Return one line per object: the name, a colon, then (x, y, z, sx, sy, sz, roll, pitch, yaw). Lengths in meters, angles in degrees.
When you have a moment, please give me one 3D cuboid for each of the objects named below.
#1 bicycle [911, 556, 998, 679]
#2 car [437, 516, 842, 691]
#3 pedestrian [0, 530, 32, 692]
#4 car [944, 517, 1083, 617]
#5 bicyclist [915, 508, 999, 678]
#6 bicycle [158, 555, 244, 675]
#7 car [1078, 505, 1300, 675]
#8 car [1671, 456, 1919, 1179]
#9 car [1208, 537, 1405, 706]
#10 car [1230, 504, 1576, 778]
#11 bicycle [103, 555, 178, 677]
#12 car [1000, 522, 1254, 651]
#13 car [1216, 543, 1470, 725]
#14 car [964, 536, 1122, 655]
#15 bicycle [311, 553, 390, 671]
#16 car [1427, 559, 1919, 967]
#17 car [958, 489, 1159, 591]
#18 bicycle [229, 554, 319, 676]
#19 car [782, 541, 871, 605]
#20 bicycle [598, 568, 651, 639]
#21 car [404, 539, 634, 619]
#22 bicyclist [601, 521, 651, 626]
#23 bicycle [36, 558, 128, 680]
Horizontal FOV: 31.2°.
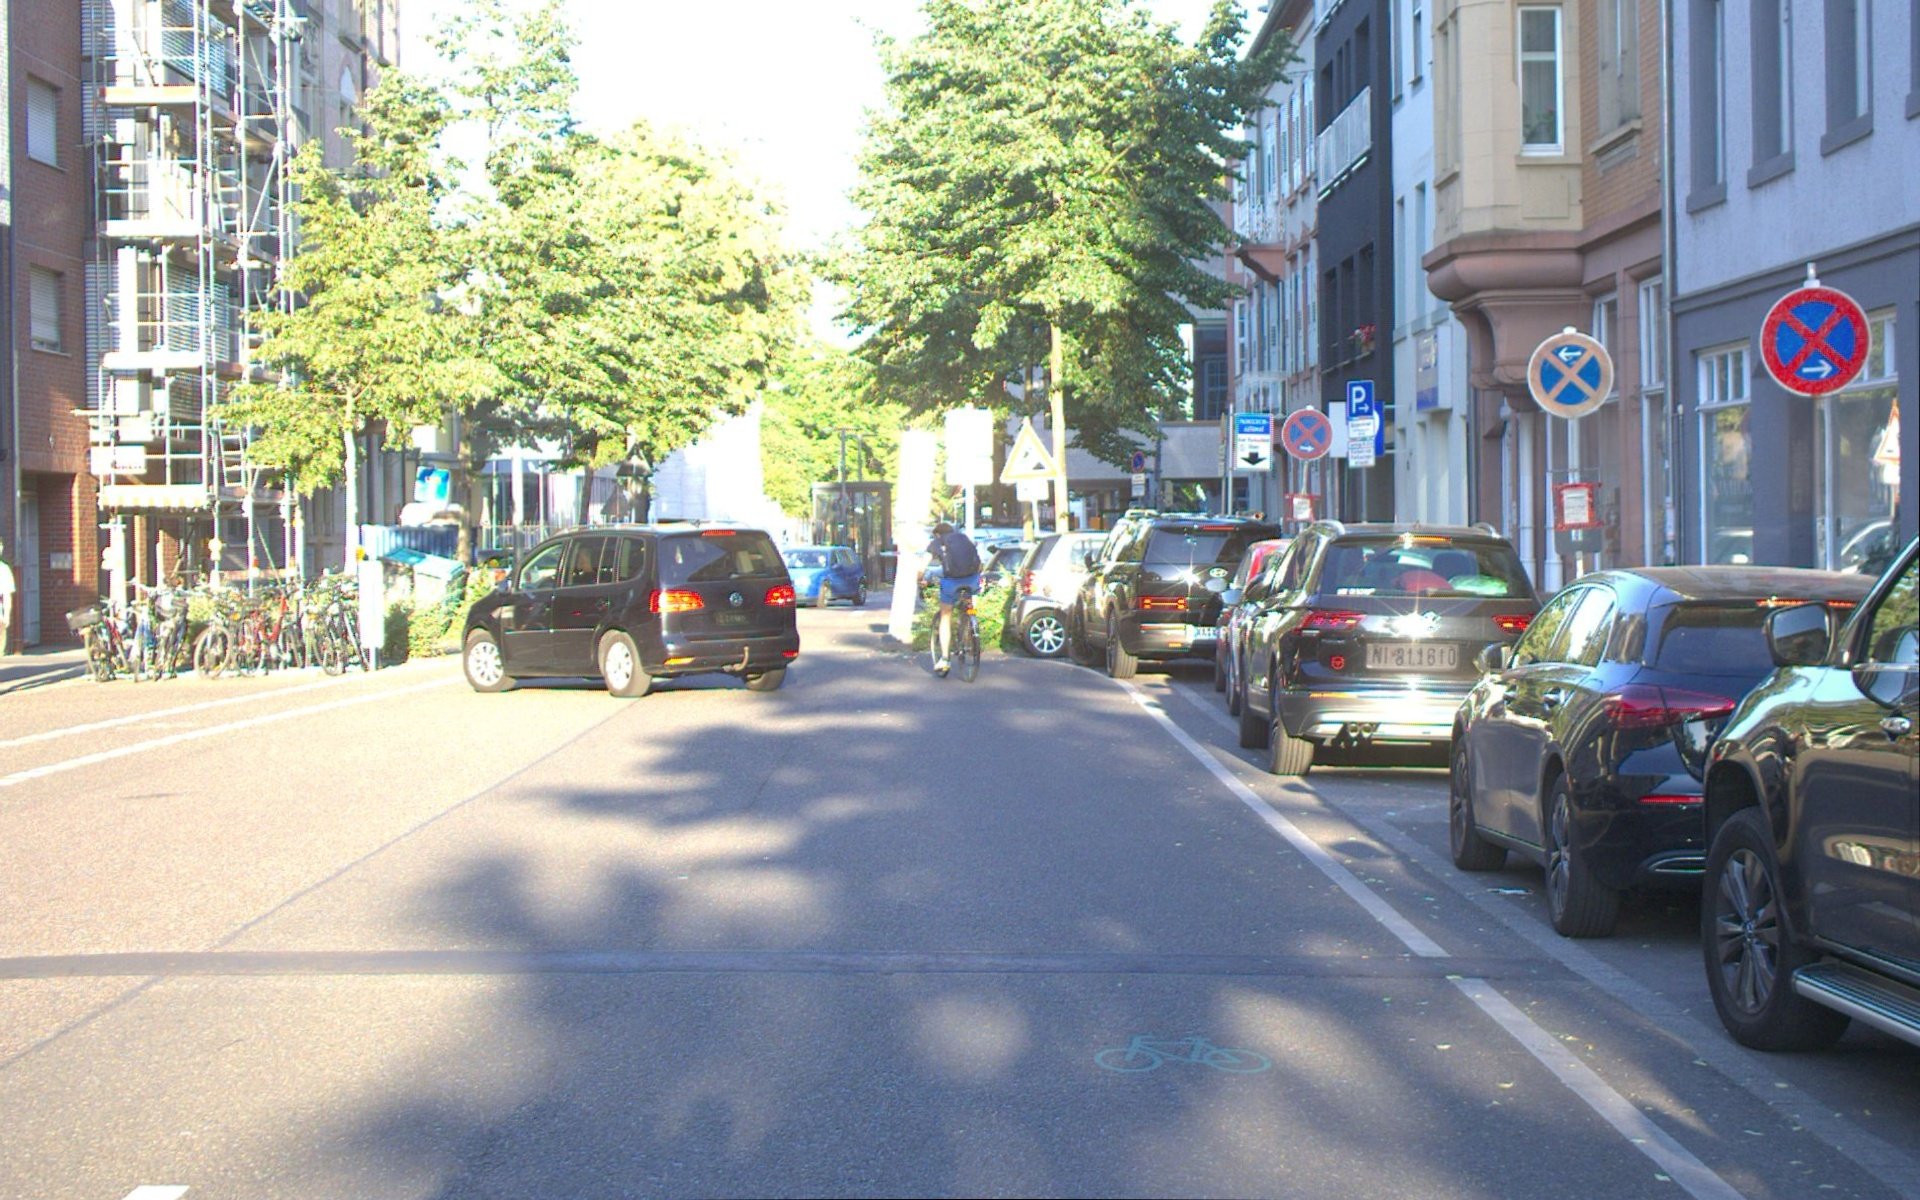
bicycle: (-0.068, 0.162, 35.247, 0.780, 1.200, 2.021, -1, 1, -2)
car: (-3.221, 0.075, 33.726, 1.994, 1.596, 4.508, 0, -1, -35)
pedestrian: (-10.506, 0.109, 37.332, 0.716, 1.734, 0.739, 1, 0, -8)
car: (0.961, -0.626, 64.607, 2.265, 1.760, 4.510, 1, 1, -3)
bicyclist: (-0.038, -0.075, 35.128, 0.780, 1.690, 1.007, -1, 1, -2)
bicycle: (-9.044, 0.159, 41.051, 0.780, 1.368, 3.143, 1, 1, -9)
car: (2.381, -0.126, 36.777, 1.824, 1.689, 4.369, 1, 1, -3)
car: (3.268, 0.534, 8.457, 1.883, 1.748, 5.059, 1, 1, -1)
car: (3.192, 0.174, 32.173, 1.587, 1.478, 3.266, 1, 1, 2)
car: (2.900, 0.228, 23.330, 1.812, 1.662, 4.206, 1, 1, 0)
bicycle: (-9.737, 0.167, 40.935, 0.584, 1.391, 3.162, 1, 1, -9)
car: (2.041, -0.171, 42.447, 2.968, 1.531, 1.433, 1, 1, -4)
car: (3.076, 0.240, 28.226, 1.666, 1.373, 3.802, 1, 1, 0)
car: (1.193, -0.090, 51.338, 1.993, 1.662, 4.510, 1, 1, -3)
bicycle: (-7.305, 0.119, 41.317, 0.844, 1.346, 3.188, -1, 1, -9)
car: (3.174, 0.576, 14.763, 1.762, 1.478, 4.307, 1, 1, 0)
car: (2.037, -1.224, 69.948, 3.987, 2.007, 2.000, 0, 1, 4)
bicycle: (-8.195, 0.152, 41.185, 0.892, 1.391, 3.167, 0, 1, -9)
car: (-3.115, -0.640, 80.906, 1.838, 1.436, 4.332, 1, 1, 1)
bicycle: (-5.886, 0.047, 60.416, 0.780, 1.200, 2.021, -1, 1, -2)
car: (-8.400, -0.410, 65.774, 4.103, 1.460, 1.889, 1, 1, 2)
bicyclist: (-5.867, -0.467, 60.443, 0.780, 1.823, 1.007, -1, 1, -2)
bicycle: (-10.407, 0.200, 40.831, 0.721, 1.391, 3.154, 1, 1, -9)
